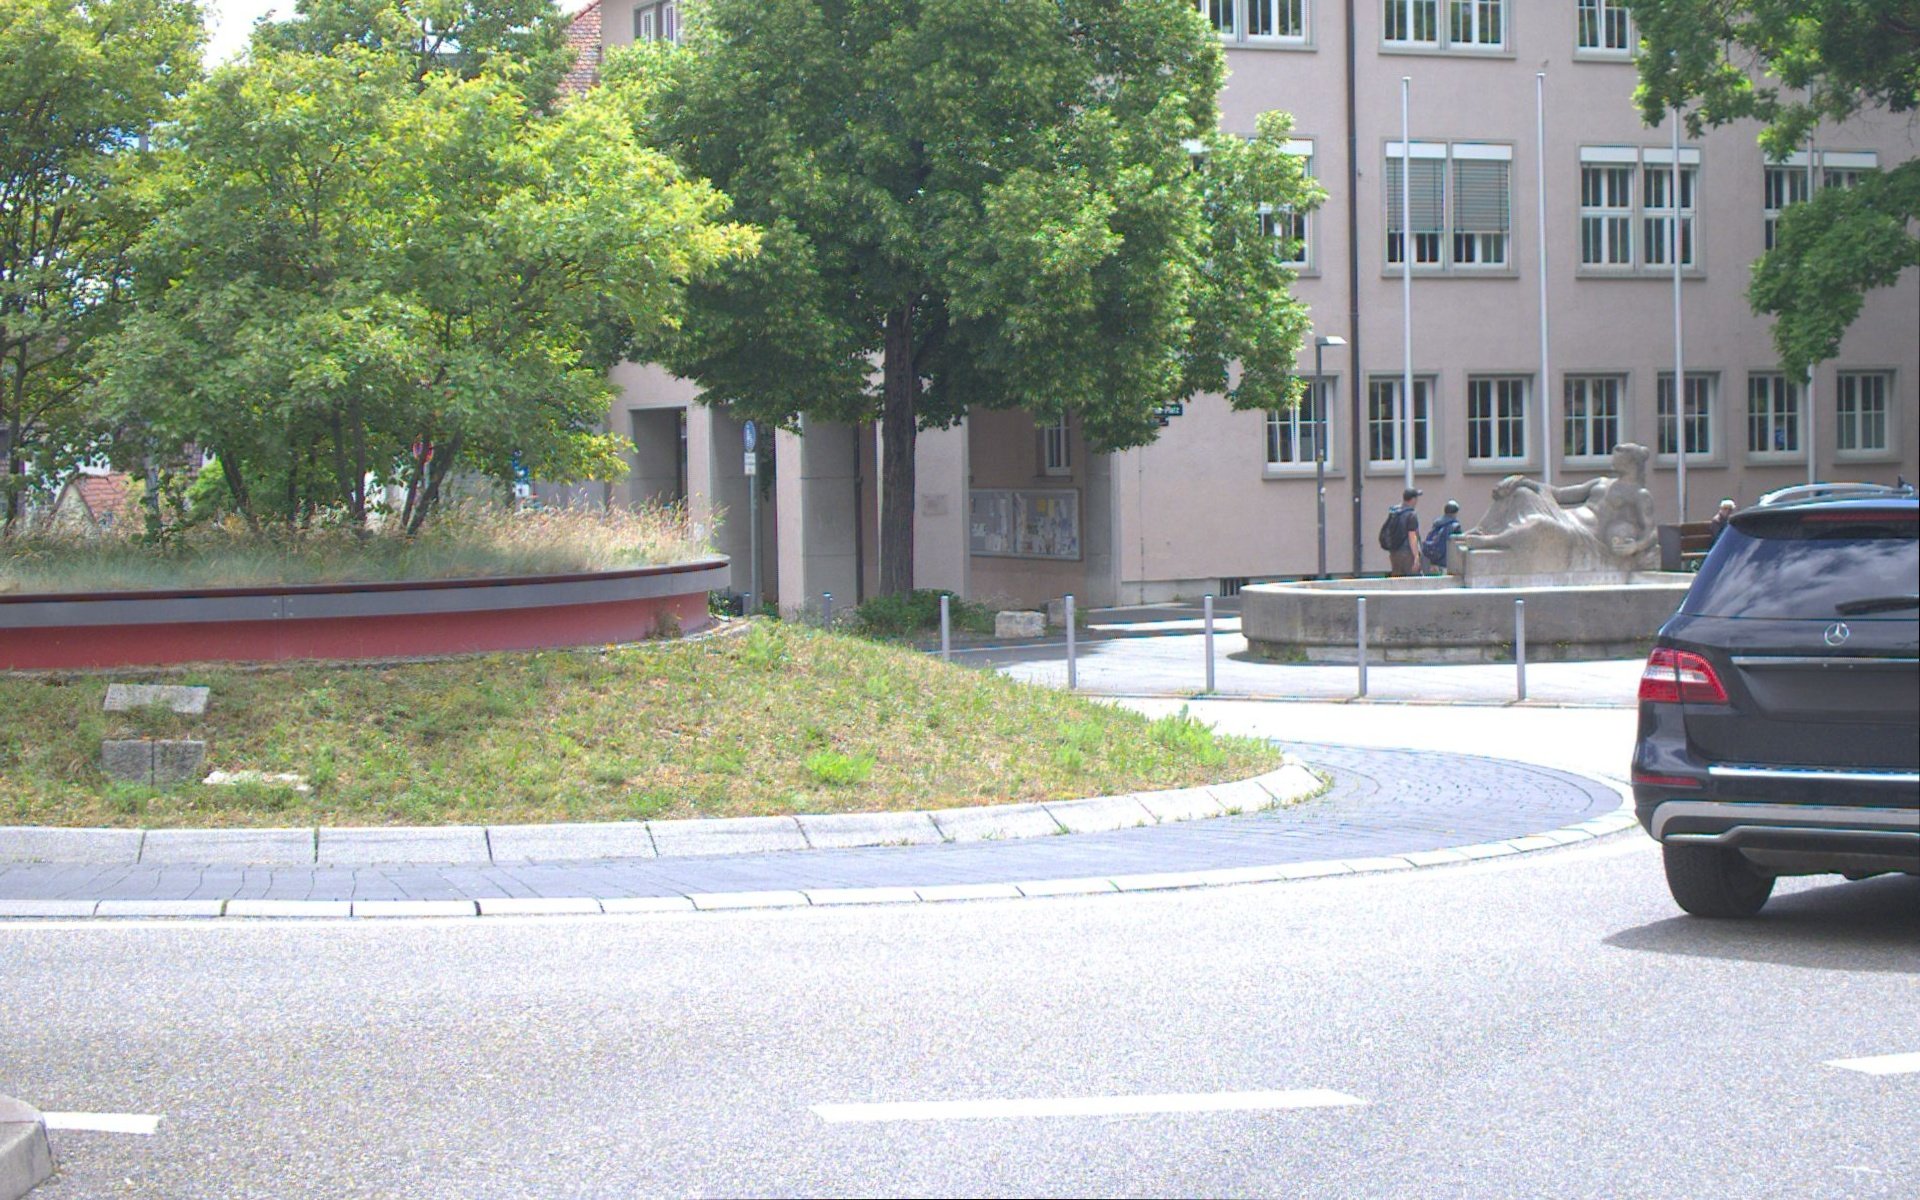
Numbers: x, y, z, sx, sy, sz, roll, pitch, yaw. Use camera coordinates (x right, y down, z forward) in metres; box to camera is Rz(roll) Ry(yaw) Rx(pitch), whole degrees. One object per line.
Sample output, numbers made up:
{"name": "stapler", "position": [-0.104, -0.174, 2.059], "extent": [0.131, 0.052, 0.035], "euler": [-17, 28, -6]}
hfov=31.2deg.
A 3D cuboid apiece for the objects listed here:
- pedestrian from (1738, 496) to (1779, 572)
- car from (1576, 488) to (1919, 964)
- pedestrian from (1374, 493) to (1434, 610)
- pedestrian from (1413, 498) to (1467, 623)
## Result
{"name": "pedestrian", "position": [12.378, -1.023, 53.278], "extent": [0.487, 1.178, 0.580], "euler": [1, 1, 26]}
{"name": "car", "position": [4.456, 0.400, 14.429], "extent": [2.031, 1.721, 4.425], "euler": [-1, 1, 34]}
{"name": "pedestrian", "position": [5.900, -0.645, 45.665], "extent": [0.636, 1.518, 0.577], "euler": [0, 5, -6]}
{"name": "pedestrian", "position": [6.250, -0.517, 44.794], "extent": [0.572, 1.603, 0.438], "euler": [0, 5, -6]}
